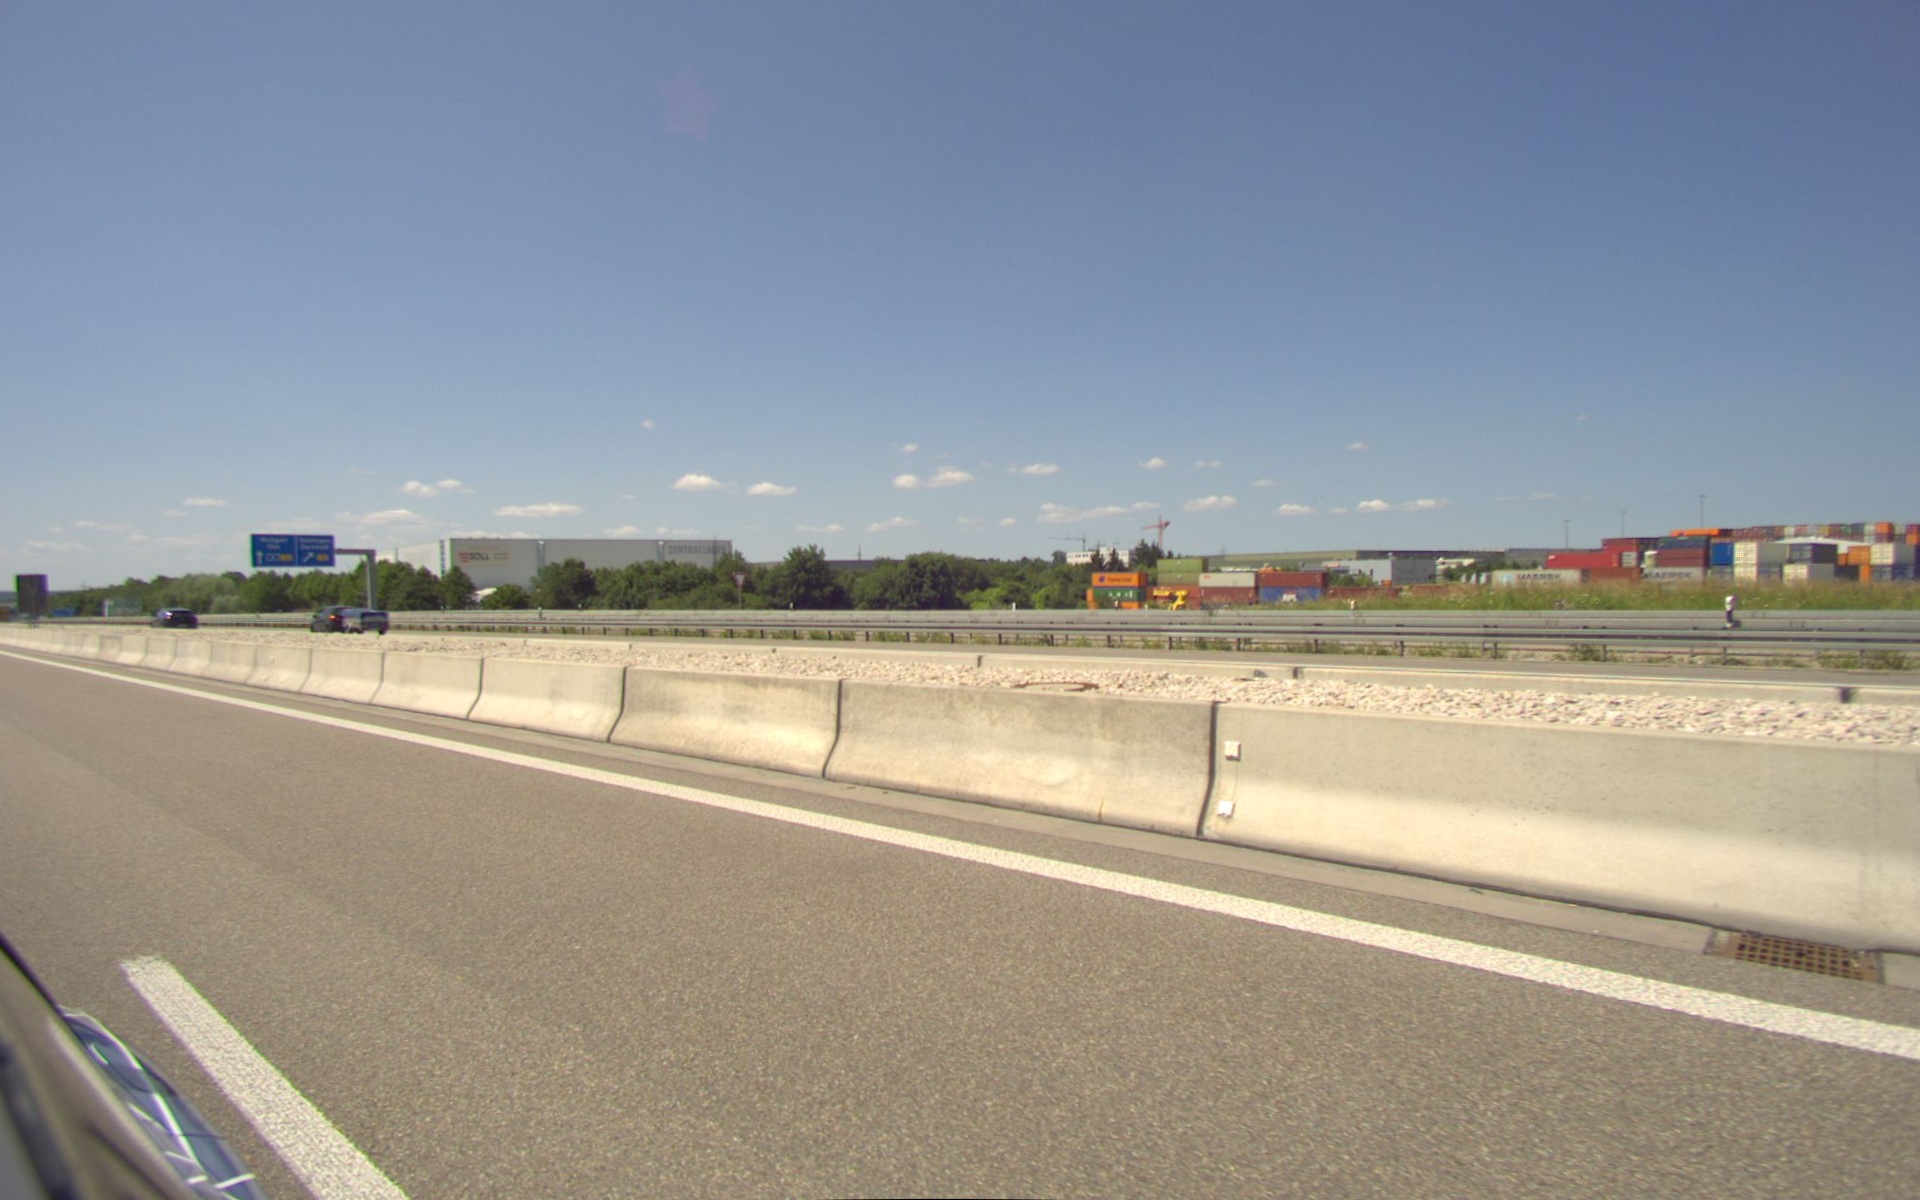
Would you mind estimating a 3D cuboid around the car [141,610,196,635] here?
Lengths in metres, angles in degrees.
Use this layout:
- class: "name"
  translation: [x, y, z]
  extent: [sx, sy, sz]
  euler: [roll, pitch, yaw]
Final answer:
- class: "car"
  translation: [-49.971, 1.393, 63.869]
  extent: [4.369, 1.484, 2.010]
  euler: [-1, 0, 41]

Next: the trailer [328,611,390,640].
- class: "trailer"
  translation: [-31.144, 1.314, 52.455]
  extent: [3.682, 1.446, 1.737]
  euler: [-1, -1, 42]

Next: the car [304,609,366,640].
- class: "car"
  translation: [-33.991, 1.310, 55.031]
  extent: [3.998, 1.561, 1.773]
  euler: [-1, 0, 41]
